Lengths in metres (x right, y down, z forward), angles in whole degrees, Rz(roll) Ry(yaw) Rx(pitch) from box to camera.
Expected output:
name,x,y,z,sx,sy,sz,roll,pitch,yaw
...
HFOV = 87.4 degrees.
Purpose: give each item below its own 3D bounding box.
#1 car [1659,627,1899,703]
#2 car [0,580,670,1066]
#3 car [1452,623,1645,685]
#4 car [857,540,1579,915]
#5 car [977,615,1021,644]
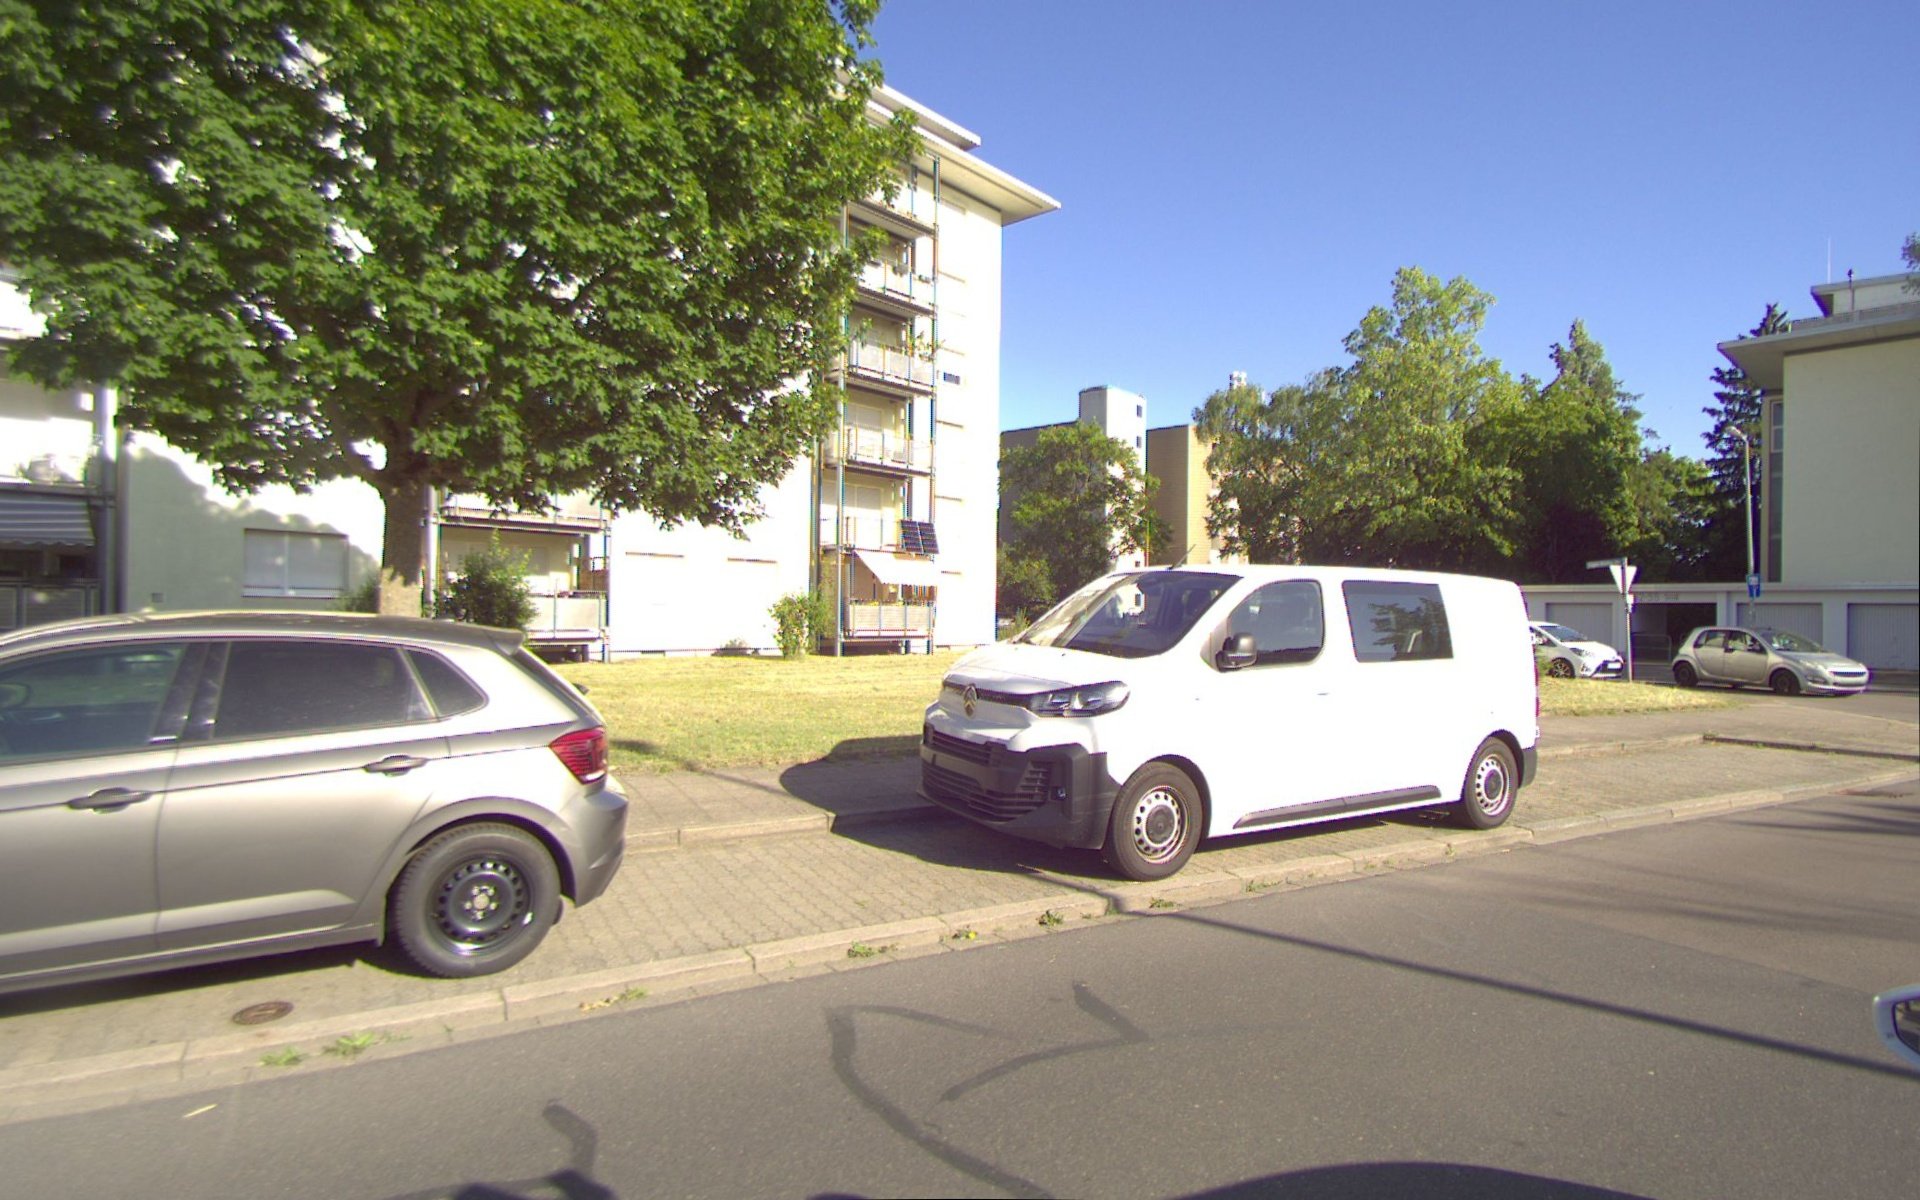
name,x,y,z,sx,sy,sz,roll,pitch,yaw
car,18.467,1.419,22.916,1.962,1.480,3.935,1,0,-9
car,-3.506,0.711,4.023,4.172,1.538,1.824,2,0,-31
car,15.243,1.357,26.263,2.014,1.483,3.979,1,-1,-23
car,2.025,0.695,7.287,5.130,1.911,2.004,2,0,-30
car,2.644,2.027,69.416,1.824,1.901,3.986,1,-1,-17
